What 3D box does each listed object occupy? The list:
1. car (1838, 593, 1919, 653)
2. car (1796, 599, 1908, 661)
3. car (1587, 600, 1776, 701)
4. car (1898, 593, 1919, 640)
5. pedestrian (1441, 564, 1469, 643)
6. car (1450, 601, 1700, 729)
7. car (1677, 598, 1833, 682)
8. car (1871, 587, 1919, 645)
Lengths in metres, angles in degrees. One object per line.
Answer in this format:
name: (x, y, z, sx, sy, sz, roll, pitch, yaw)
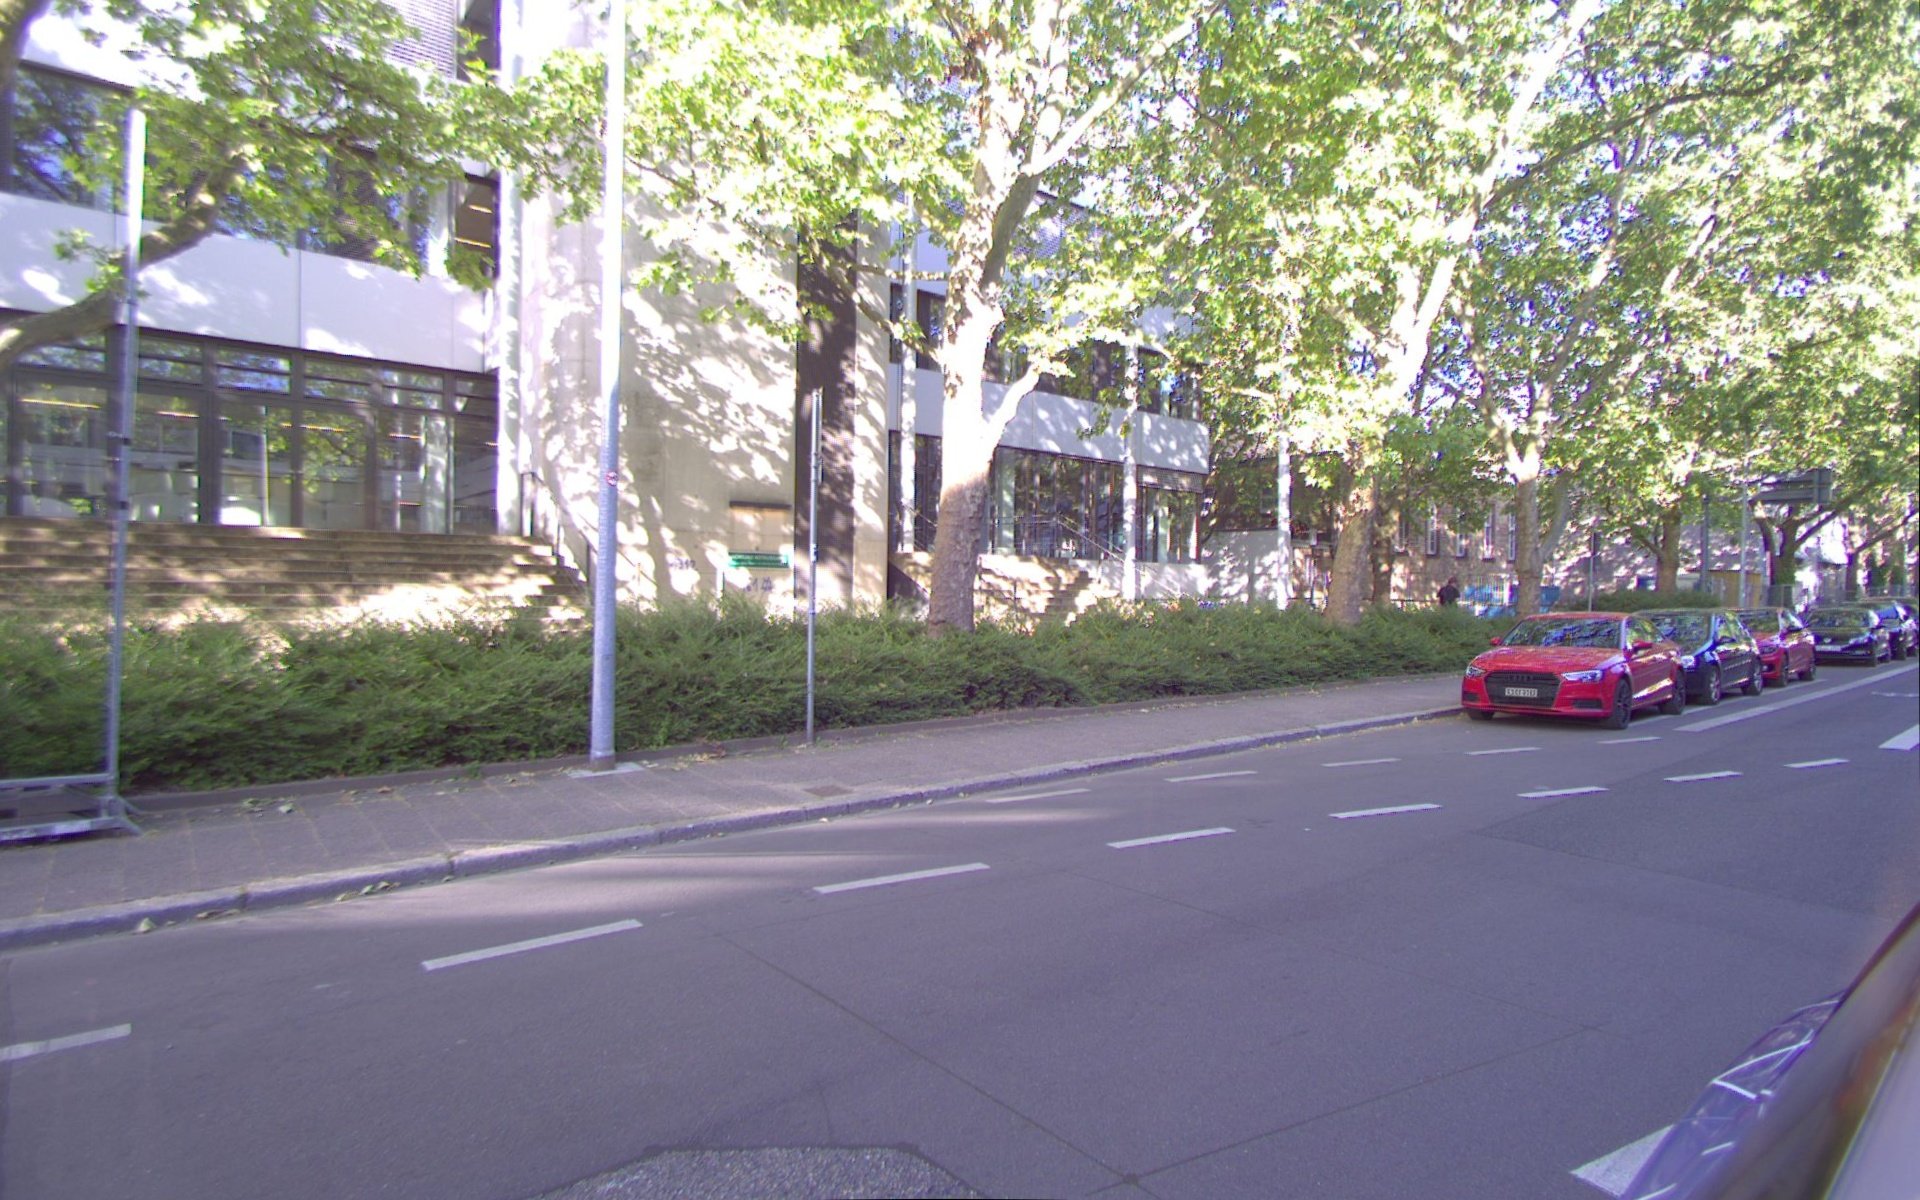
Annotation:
car: (26.627, 0.606, 29.049, 4.158, 1.598, 1.632, -1, 0, -41)
car: (22.942, 0.714, 25.992, 3.855, 1.441, 1.691, -1, 0, -41)
car: (11.850, 0.732, 16.549, 3.632, 1.436, 1.668, -1, 0, -40)
car: (35.529, 0.574, 36.790, 4.497, 1.633, 1.632, -1, 0, -41)
pedestrian: (12.924, 0.081, 26.411, 0.549, 2.039, 0.555, 0, 0, 38)
car: (8.296, 0.739, 13.520, 3.931, 1.409, 1.792, -1, 0, -42)
car: (15.738, 0.710, 19.977, 3.854, 1.467, 1.691, -1, 0, -40)
car: (31.165, 0.475, 33.018, 4.497, 1.814, 1.632, -1, 0, -41)
